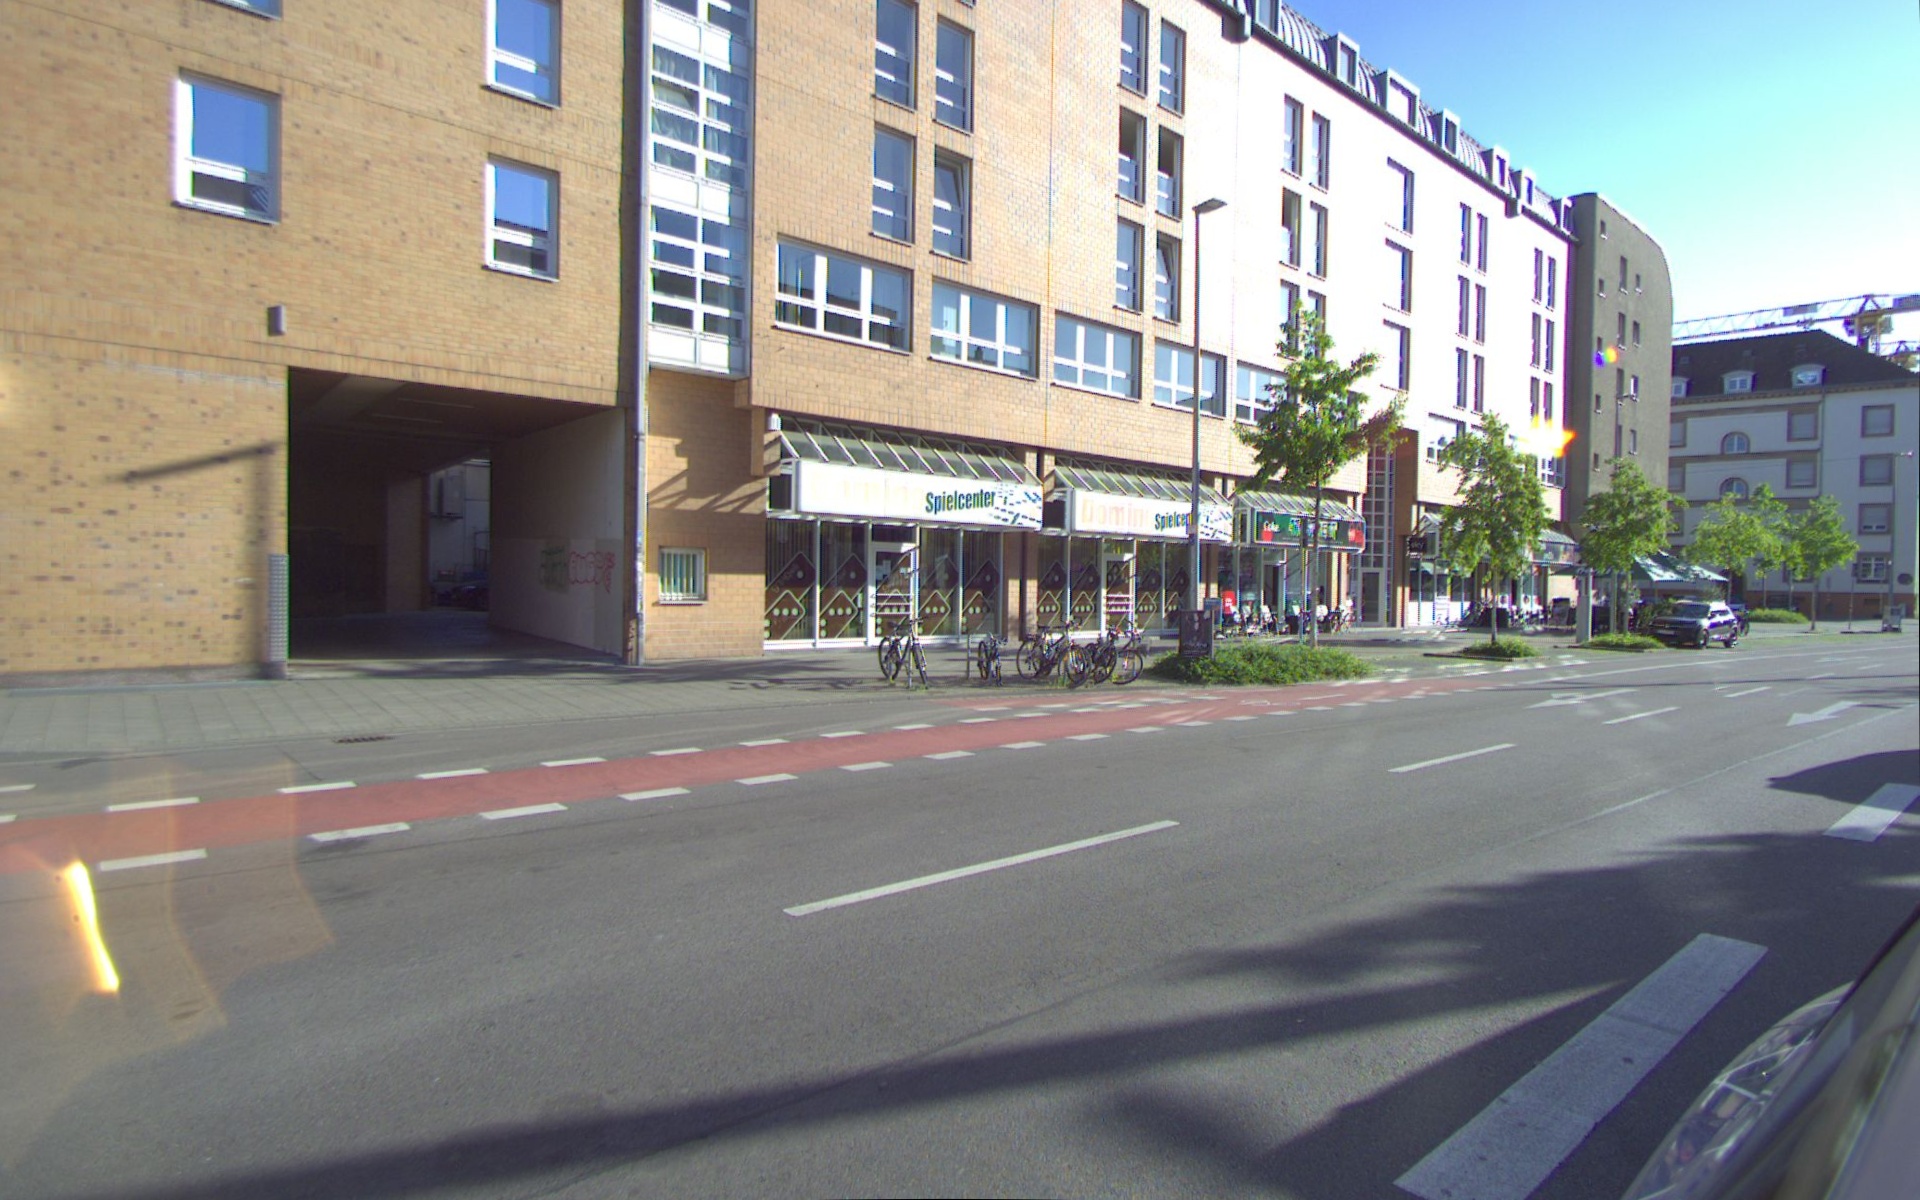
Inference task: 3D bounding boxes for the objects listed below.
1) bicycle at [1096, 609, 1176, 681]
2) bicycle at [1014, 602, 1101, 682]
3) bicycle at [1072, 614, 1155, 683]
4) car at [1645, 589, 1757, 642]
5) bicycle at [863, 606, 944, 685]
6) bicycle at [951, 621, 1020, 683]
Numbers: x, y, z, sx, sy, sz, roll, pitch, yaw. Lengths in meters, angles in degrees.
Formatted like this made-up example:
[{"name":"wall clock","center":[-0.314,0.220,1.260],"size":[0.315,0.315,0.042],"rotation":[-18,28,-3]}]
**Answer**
[{"name":"bicycle","center":[3.081,0.762,17.876],"size":[0.343,1.069,1.843],"rotation":[0,3,-26]},{"name":"bicycle","center":[1.627,0.674,17.196],"size":[0.553,1.177,1.843],"rotation":[0,3,-26]},{"name":"bicycle","center":[2.645,0.811,17.664],"size":[0.440,0.997,1.843],"rotation":[0,3,-26]},{"name":"car","center":[25.840,0.507,35.283],"size":[3.921,1.659,1.782],"rotation":[0,3,-33]},{"name":"bicycle","center":[-0.929,0.695,16.191],"size":[0.423,1.089,1.776],"rotation":[-1,4,-35]},{"name":"bicycle","center":[0.403,0.840,16.965],"size":[0.359,0.842,1.779],"rotation":[0,3,-26]}]
